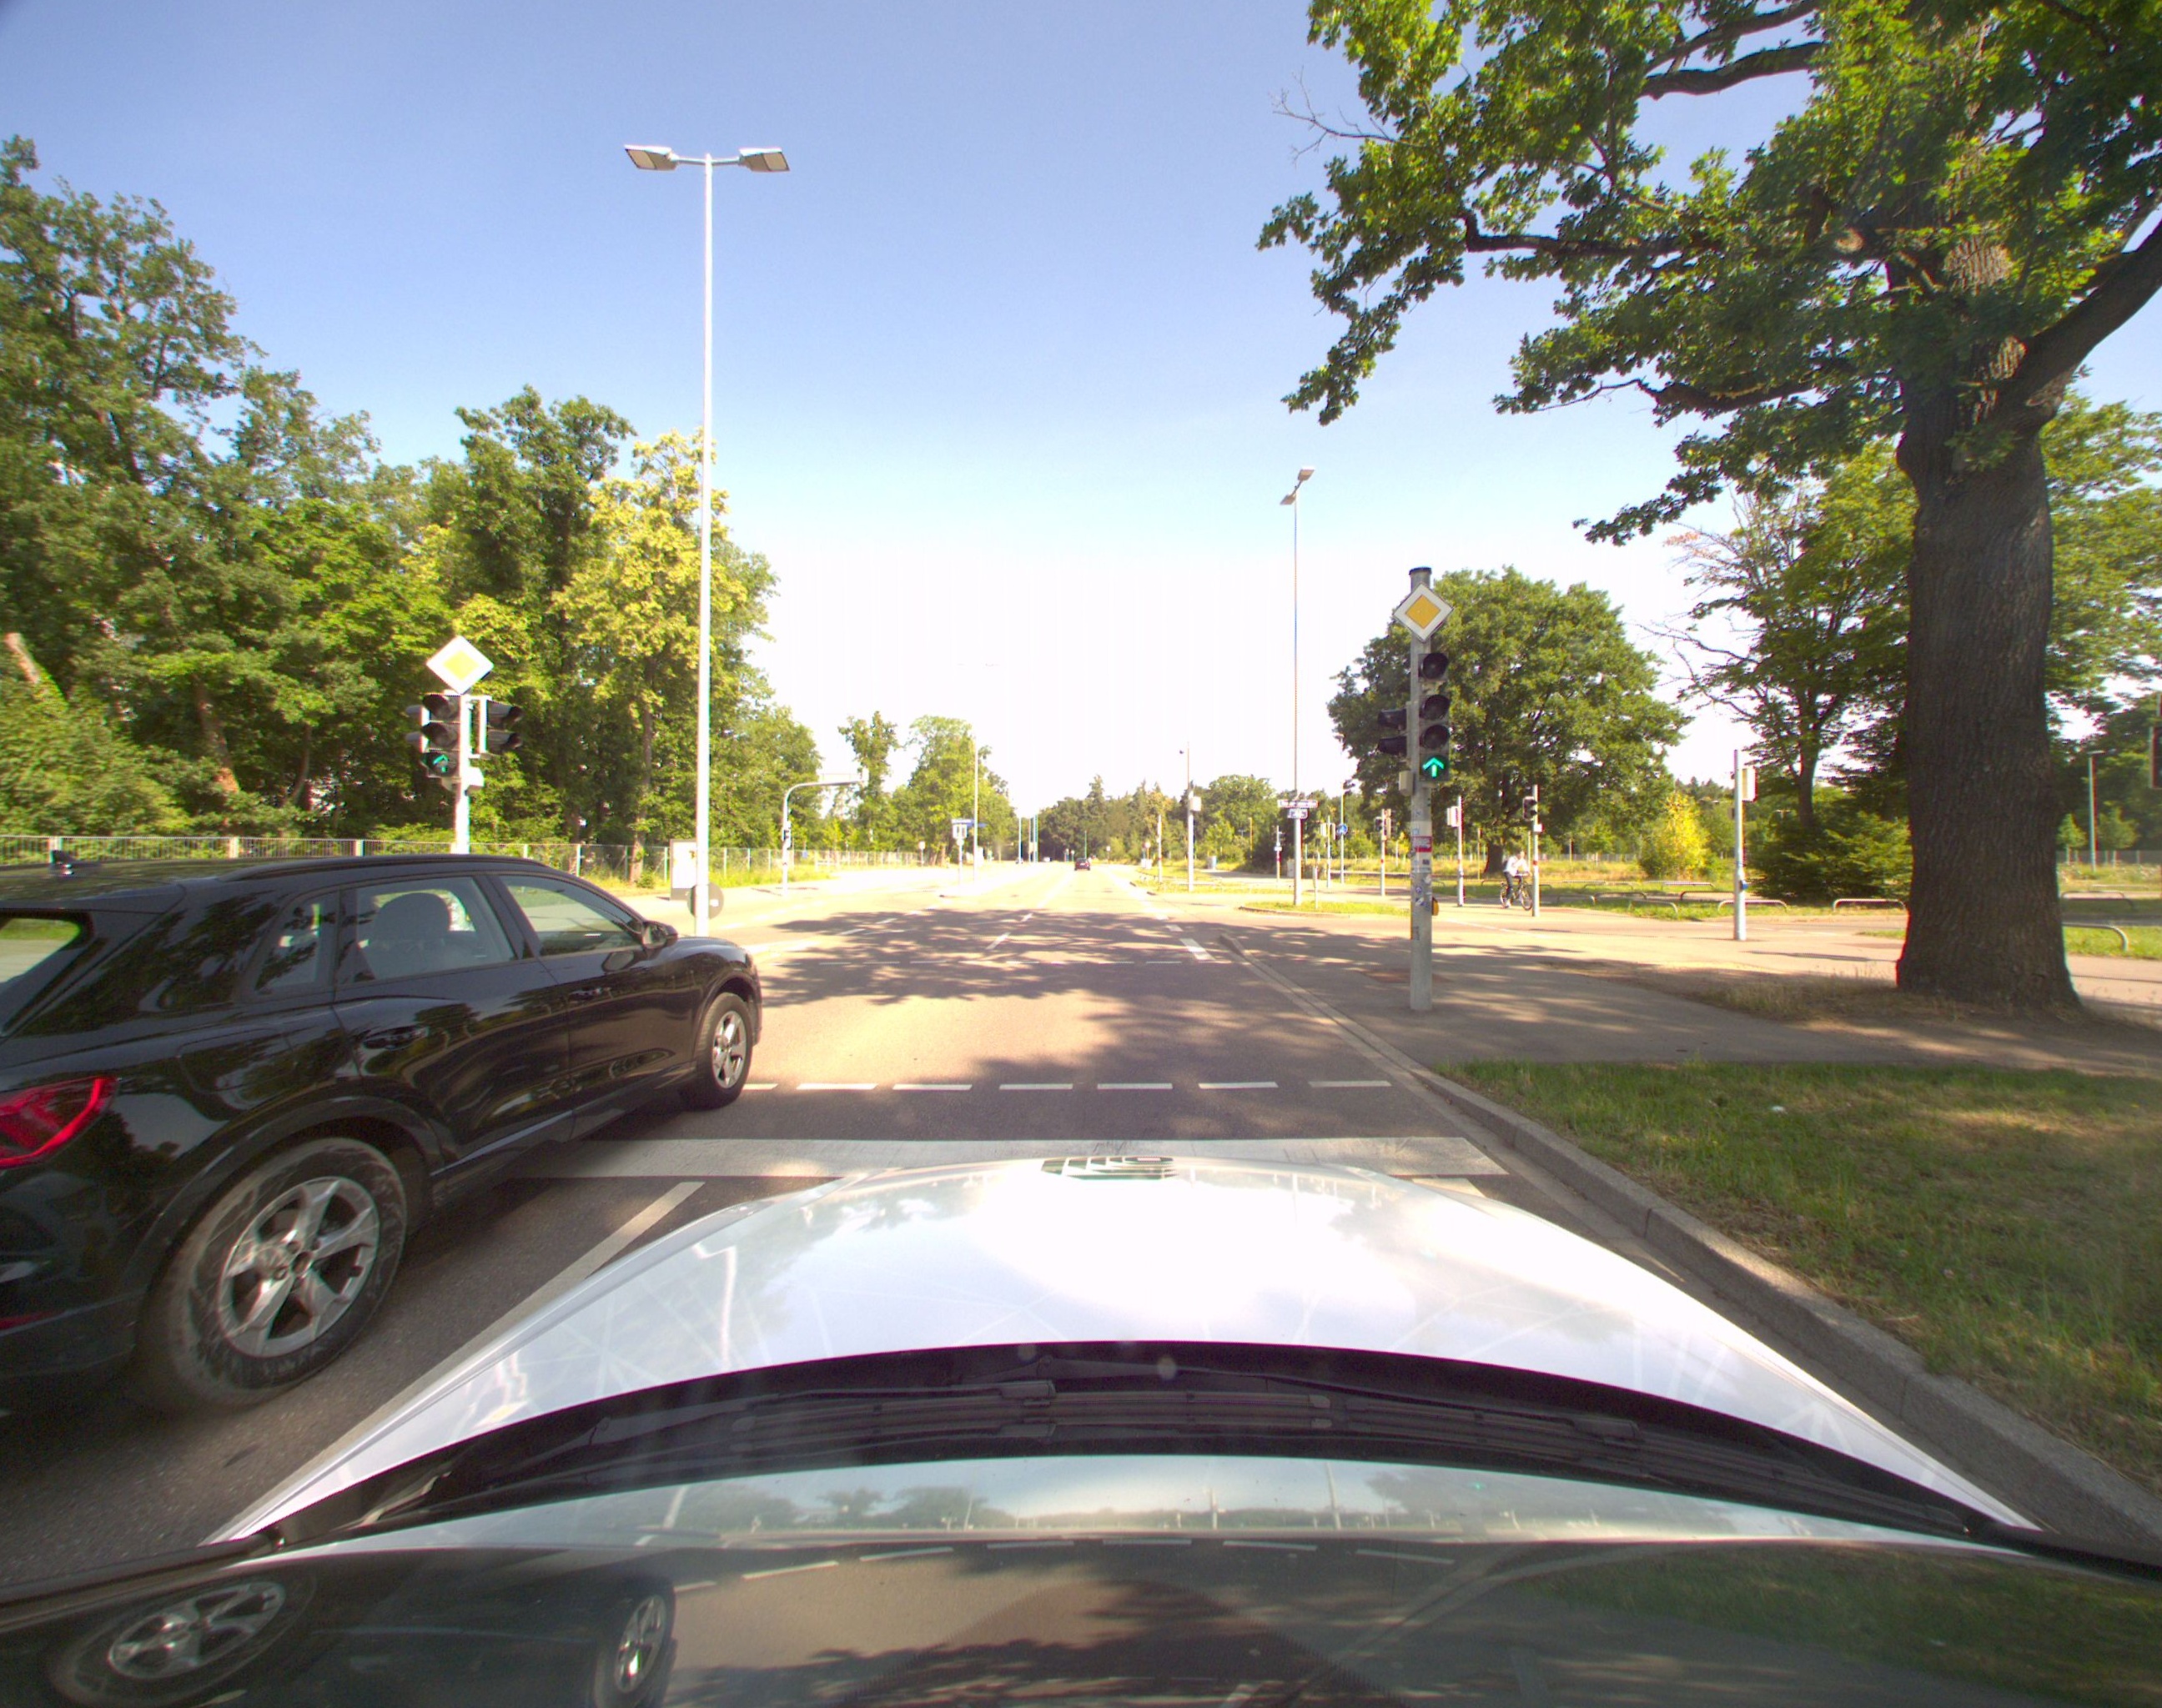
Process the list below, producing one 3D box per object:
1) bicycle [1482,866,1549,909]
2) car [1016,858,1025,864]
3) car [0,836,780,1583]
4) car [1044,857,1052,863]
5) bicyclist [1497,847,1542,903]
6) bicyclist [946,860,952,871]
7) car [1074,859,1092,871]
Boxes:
[{"bbox_3d":[12.947,0.971,24.344,0.723,1.199,2.096,0,0,-6],"label":"bicycle"},{"bbox_3d":[-15.711,1.770,212.215,1.811,1.388,4.148,-2,0,-9],"label":"car"},{"bbox_3d":[-3.022,0.753,3.620,1.681,1.544,4.150,-1,0,2],"label":"car"},{"bbox_3d":[-9.851,1.800,242.878,1.995,1.750,3.984,0,-1,-11],"label":"car"},{"bbox_3d":[12.977,0.613,24.135,0.723,1.639,1.056,0,0,-6],"label":"bicyclist"},{"bbox_3d":[-17.994,1.542,110.803,0.658,1.467,1.056,1,0,-2],"label":"bicyclist"},{"bbox_3d":[0.203,1.256,95.586,1.936,1.420,4.289,0,0,-2],"label":"car"}]
